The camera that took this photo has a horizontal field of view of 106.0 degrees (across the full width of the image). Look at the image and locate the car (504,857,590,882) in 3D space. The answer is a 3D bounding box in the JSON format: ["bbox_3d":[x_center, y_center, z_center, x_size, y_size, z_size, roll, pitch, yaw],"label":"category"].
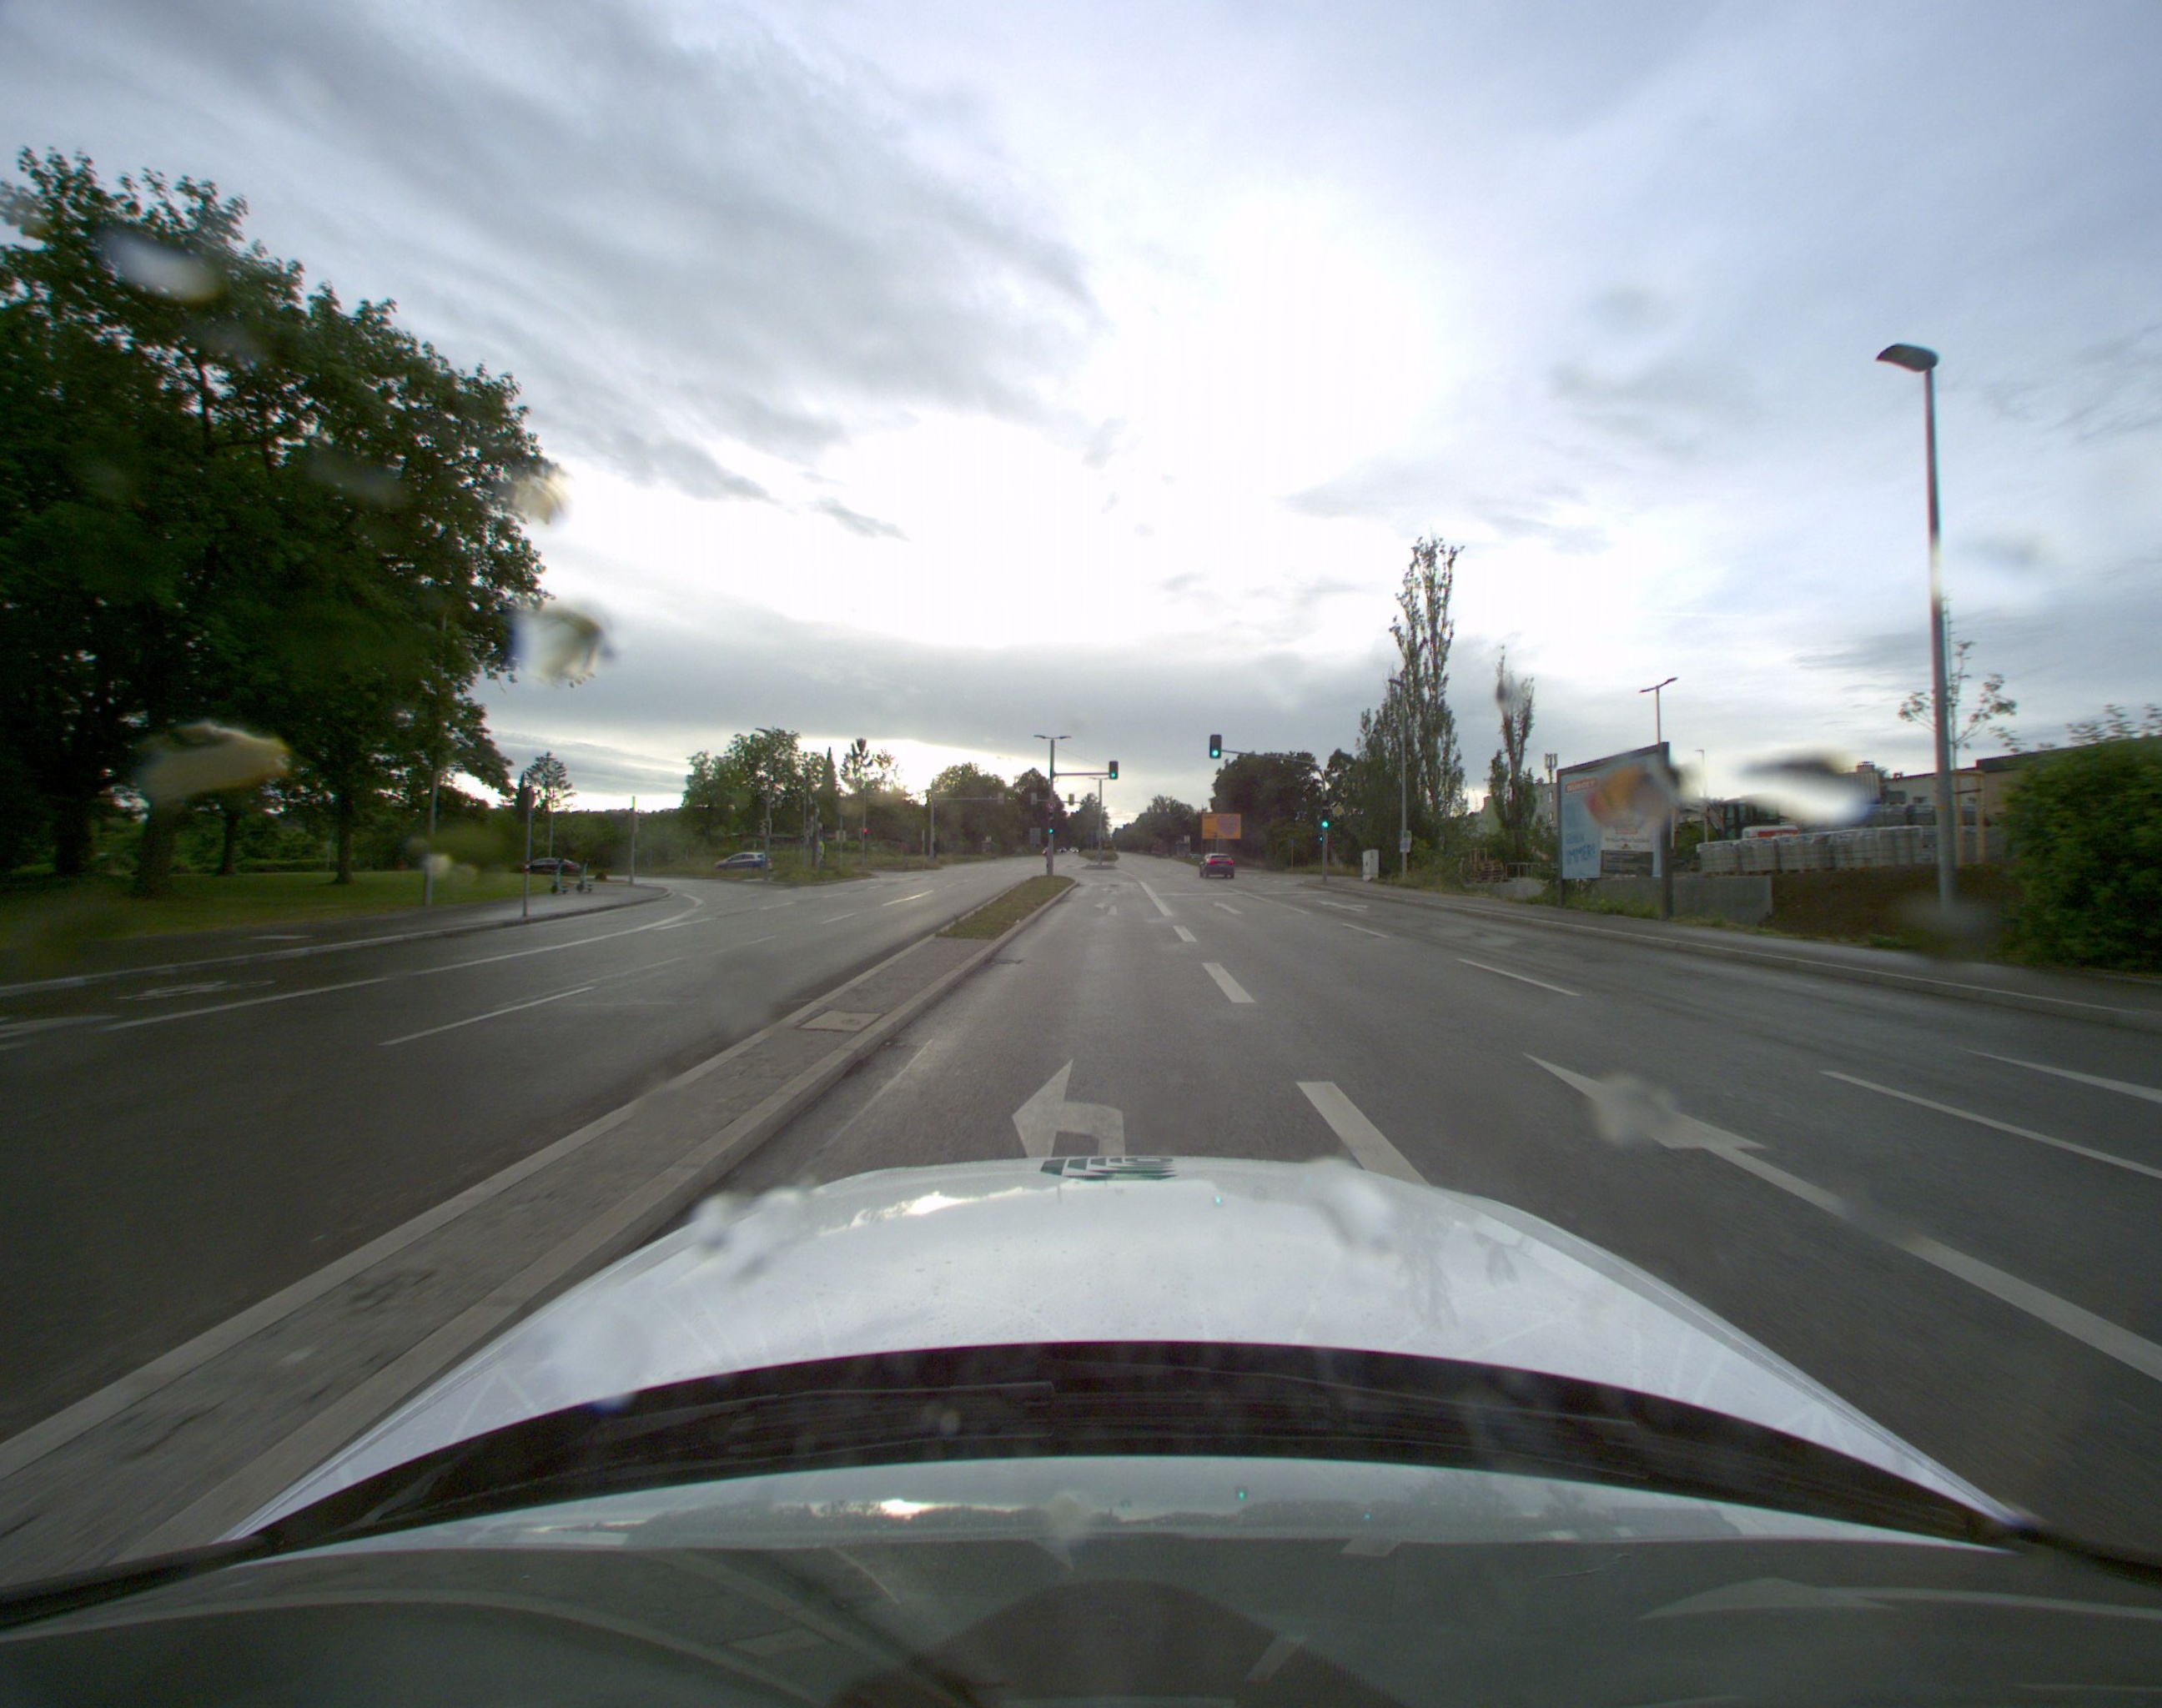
[{"bbox_3d":[-38.334,1.143,58.553,4.639,1.583,2.170,2,-2,-4],"label":"car"}]

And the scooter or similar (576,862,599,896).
[{"bbox_3d":[-18.288,0.909,30.204,0.311,1.218,1.302,1,0,-11],"label":"scooter or similar"}]

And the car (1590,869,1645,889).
[{"bbox_3d":[45.973,2.124,69.855,3.860,1.564,1.515,1,0,-5],"label":"car"}]

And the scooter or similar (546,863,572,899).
[{"bbox_3d":[-18.251,0.919,28.509,0.311,1.218,1.302,1,0,-12],"label":"scooter or similar"}]

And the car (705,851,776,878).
[{"bbox_3d":[-24.539,0.761,58.809,4.168,1.719,2.084,2,-2,2],"label":"car"}]

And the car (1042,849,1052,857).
[{"bbox_3d":[-6.897,-0.125,165.791,1.762,1.596,4.490,1,0,1],"label":"car"}]

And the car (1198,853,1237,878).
[{"bbox_3d":[8.279,0.666,49.644,1.738,1.470,4.167,1,0,2],"label":"car"}]

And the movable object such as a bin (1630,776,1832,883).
[{"bbox_3d":[21.868,-0.751,27.789,2.298,3.276,5.414,1,0,-5],"label":"movable object such as a bin"}]

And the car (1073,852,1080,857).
[{"bbox_3d":[-1.331,0.134,228.732,1.887,1.534,4.490,1,0,1],"label":"car"}]
